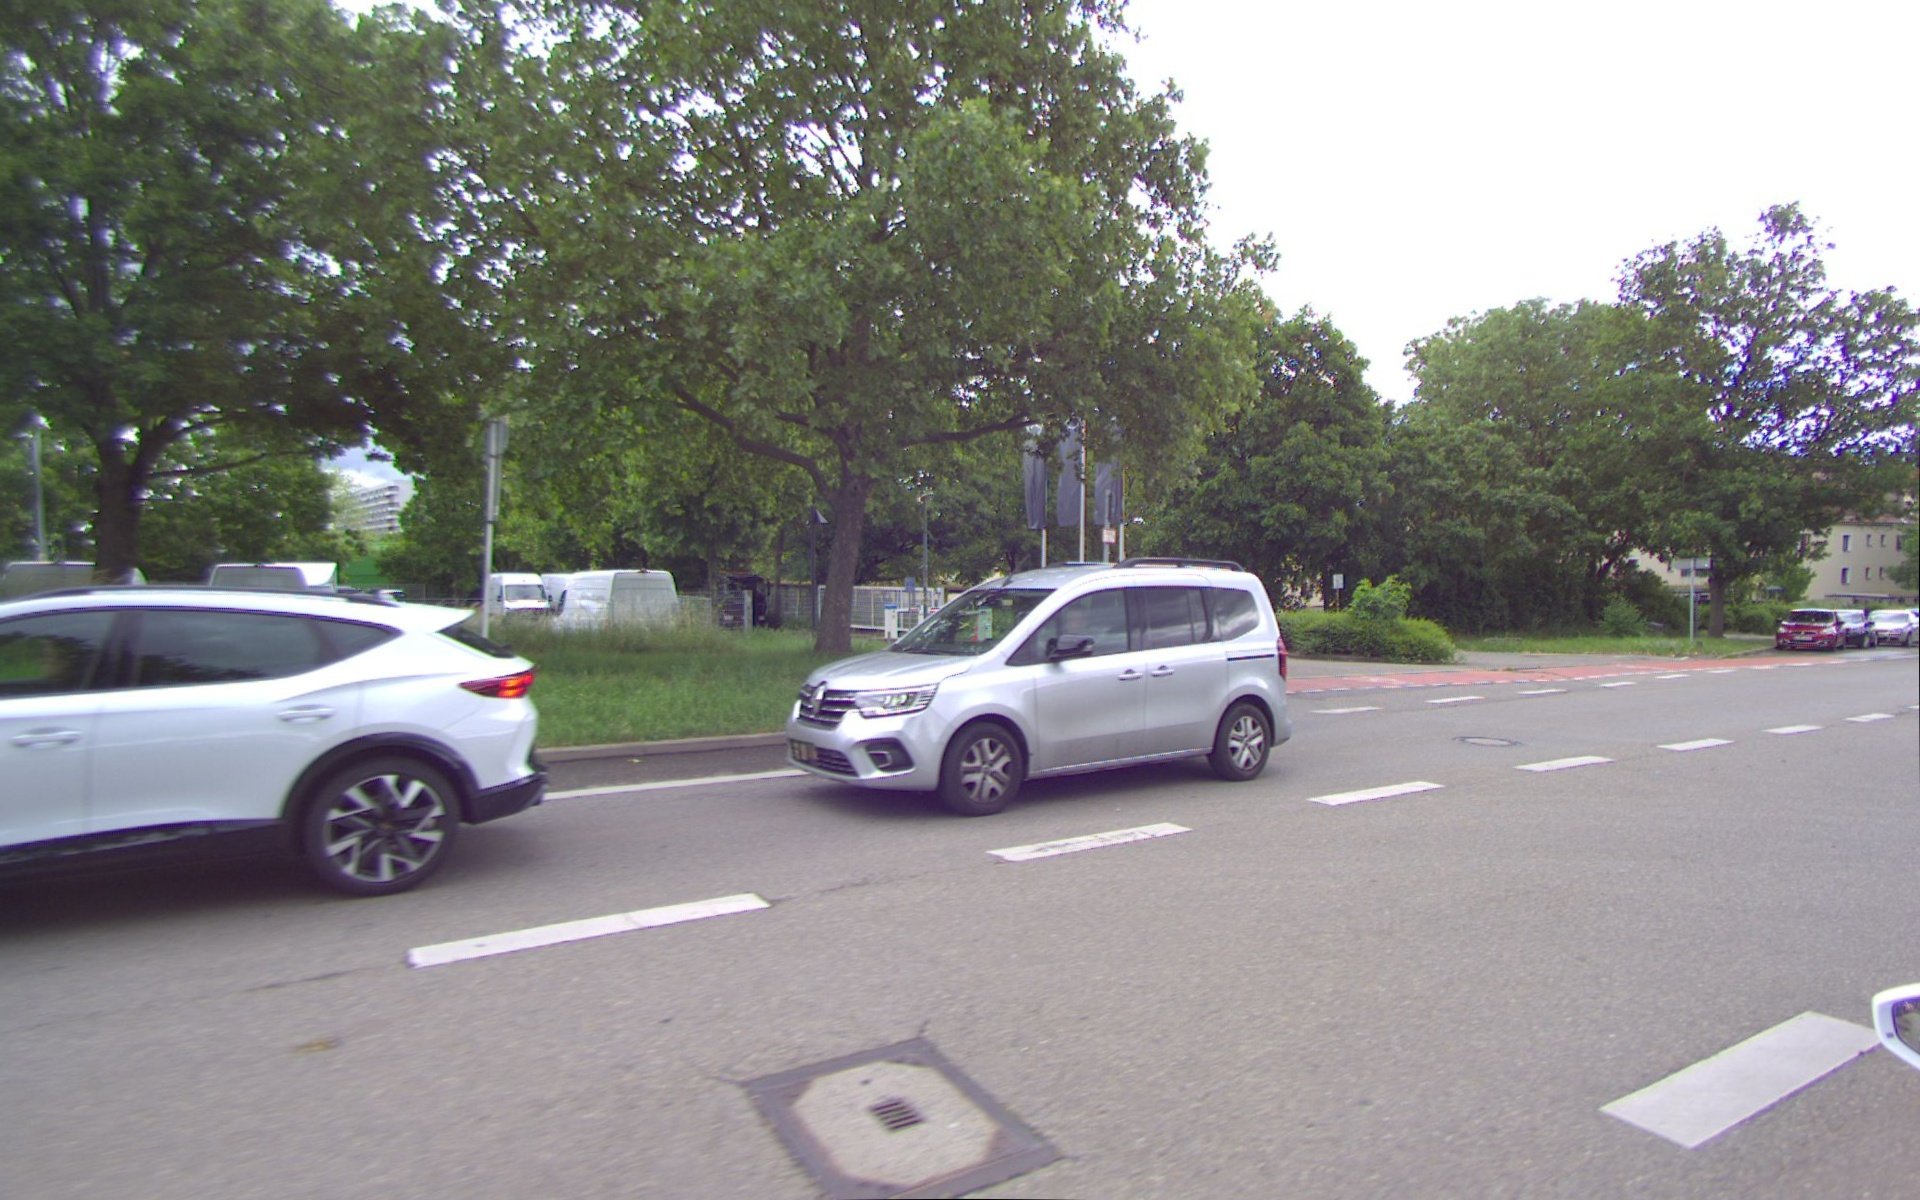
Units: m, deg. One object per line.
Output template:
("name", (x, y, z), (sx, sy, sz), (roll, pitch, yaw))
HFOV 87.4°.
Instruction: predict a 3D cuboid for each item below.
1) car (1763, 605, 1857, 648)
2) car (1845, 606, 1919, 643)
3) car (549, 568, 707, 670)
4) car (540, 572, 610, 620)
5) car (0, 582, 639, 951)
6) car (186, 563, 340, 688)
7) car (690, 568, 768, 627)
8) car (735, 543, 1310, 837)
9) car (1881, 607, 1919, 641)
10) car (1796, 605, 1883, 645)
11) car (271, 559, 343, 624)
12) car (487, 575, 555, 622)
("car", (30.961, 0.927, 36.567), (3.961, 1.422, 1.661), (0, 1, -36))
("car", (38.563, 0.984, 41.842), (3.960, 1.422, 1.661), (0, 1, -36))
("car", (-9.382, 0.420, 27.961), (2.630, 2.508, 6.005), (0, 1, -34))
("car", (-18.660, -0.205, 48.505), (1.981, 2.220, 4.932), (0, 1, -36))
("car", (-4.286, 0.708, 5.120), (4.764, 1.541, 1.835), (0, -1, -34))
("car", (-16.138, 0.481, 23.390), (2.630, 2.508, 6.005), (0, 1, -34))
("car", (-11.273, -0.125, 48.746), (1.981, 2.698, 4.932), (0, 1, -36))
("car", (0.663, 0.583, 8.307), (4.601, 1.827, 1.835), (0, -1, -34))
("car", (43.258, 1.067, 45.334), (3.961, 1.422, 1.661), (0, 1, -36))
("car", (34.431, 0.953, 39.303), (3.961, 1.422, 1.661), (0, 1, -36))
("car", (-27.076, -0.355, 41.643), (2.379, 2.488, 4.935), (0, 1, -34))
("car", (-20.100, -0.091, 45.884), (1.979, 2.041, 4.935), (0, 1, -34))
